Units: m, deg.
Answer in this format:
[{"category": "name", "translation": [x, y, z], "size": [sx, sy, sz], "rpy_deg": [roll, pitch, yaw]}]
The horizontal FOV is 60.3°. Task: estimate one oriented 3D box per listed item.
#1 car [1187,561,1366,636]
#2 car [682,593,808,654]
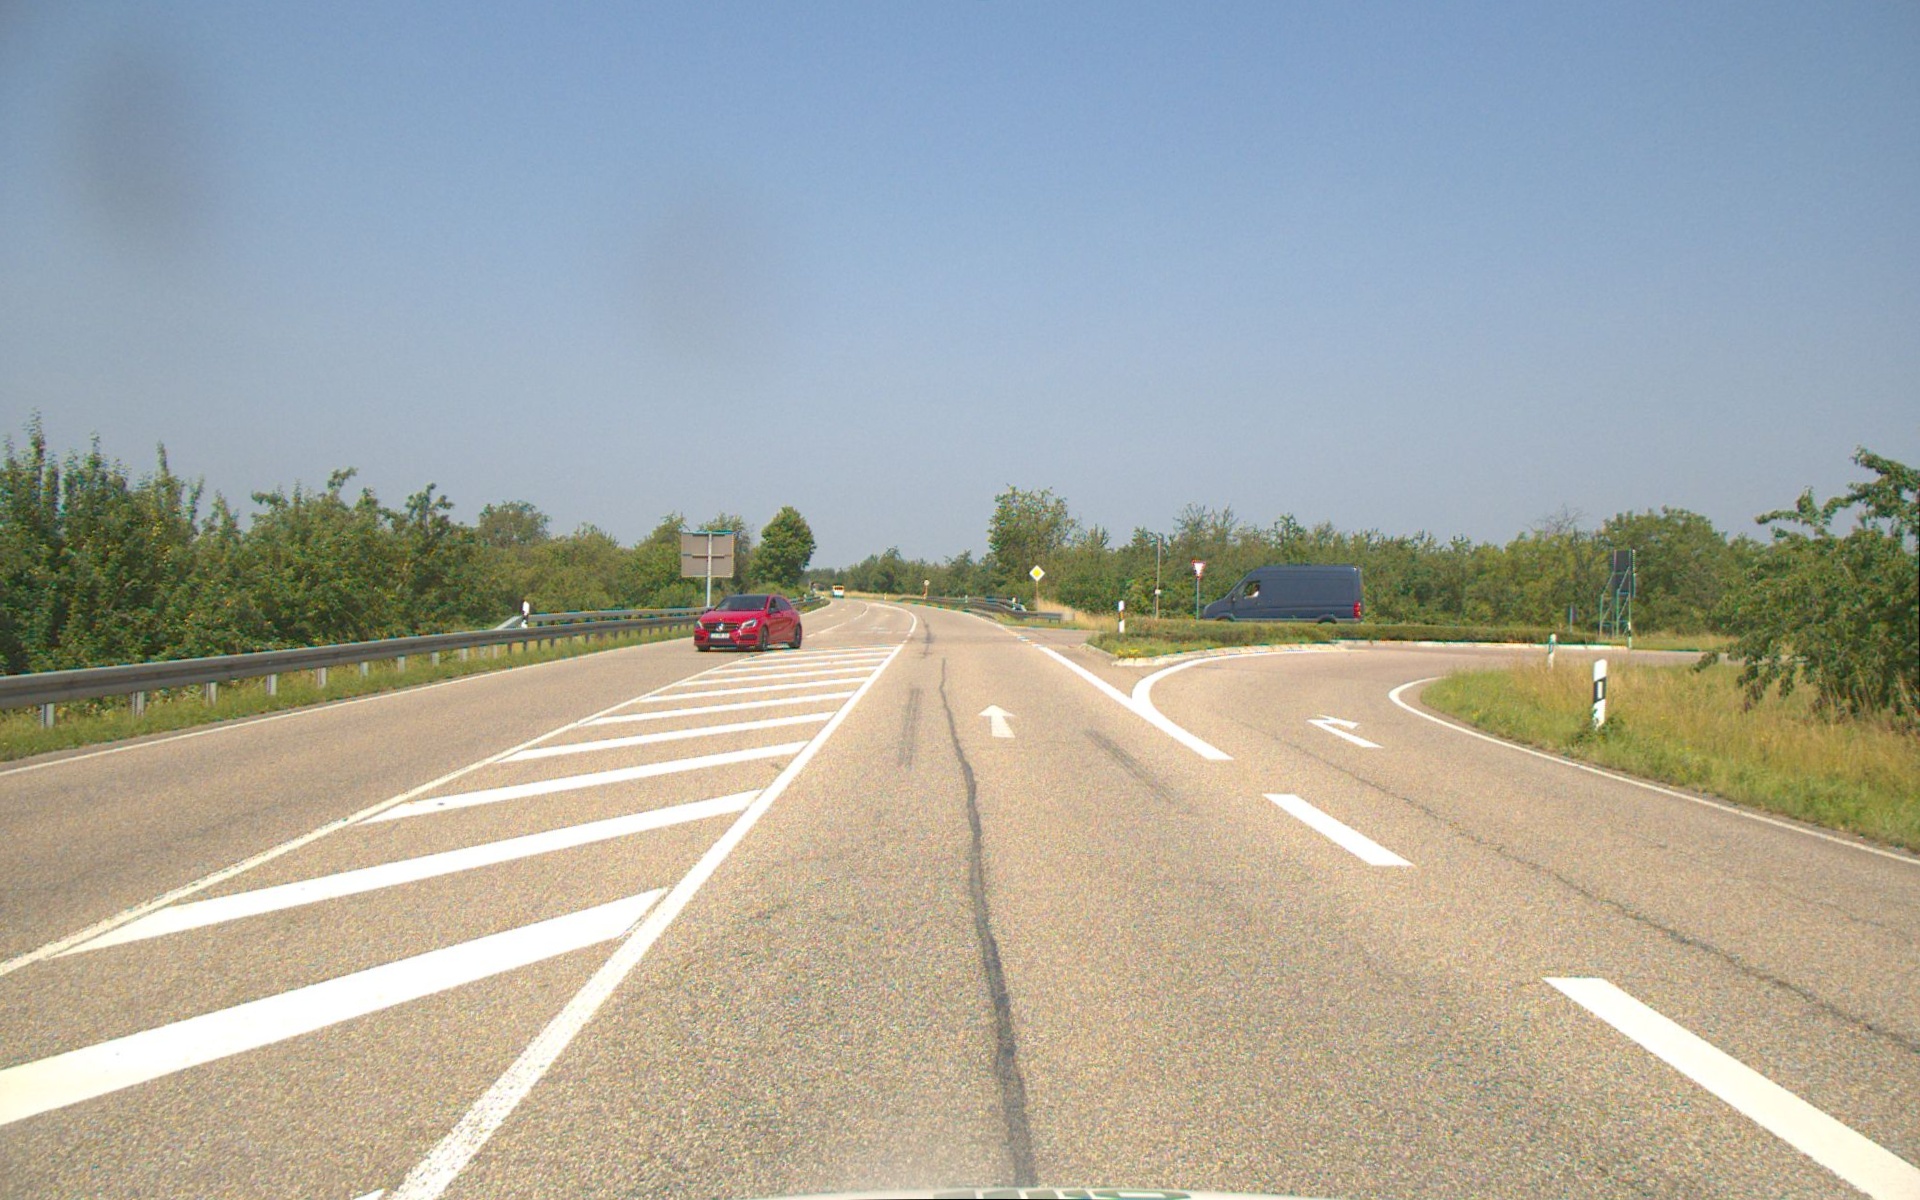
[{"category": "car", "translation": [11.375, -0.025, 59.487], "size": [6.158, 2.620, 2.063], "rpy_deg": [0, 0, 16]}, {"category": "car", "translation": [-5.446, 0.576, 42.506], "size": [1.777, 1.474, 4.499], "rpy_deg": [0, 0, 12]}]
